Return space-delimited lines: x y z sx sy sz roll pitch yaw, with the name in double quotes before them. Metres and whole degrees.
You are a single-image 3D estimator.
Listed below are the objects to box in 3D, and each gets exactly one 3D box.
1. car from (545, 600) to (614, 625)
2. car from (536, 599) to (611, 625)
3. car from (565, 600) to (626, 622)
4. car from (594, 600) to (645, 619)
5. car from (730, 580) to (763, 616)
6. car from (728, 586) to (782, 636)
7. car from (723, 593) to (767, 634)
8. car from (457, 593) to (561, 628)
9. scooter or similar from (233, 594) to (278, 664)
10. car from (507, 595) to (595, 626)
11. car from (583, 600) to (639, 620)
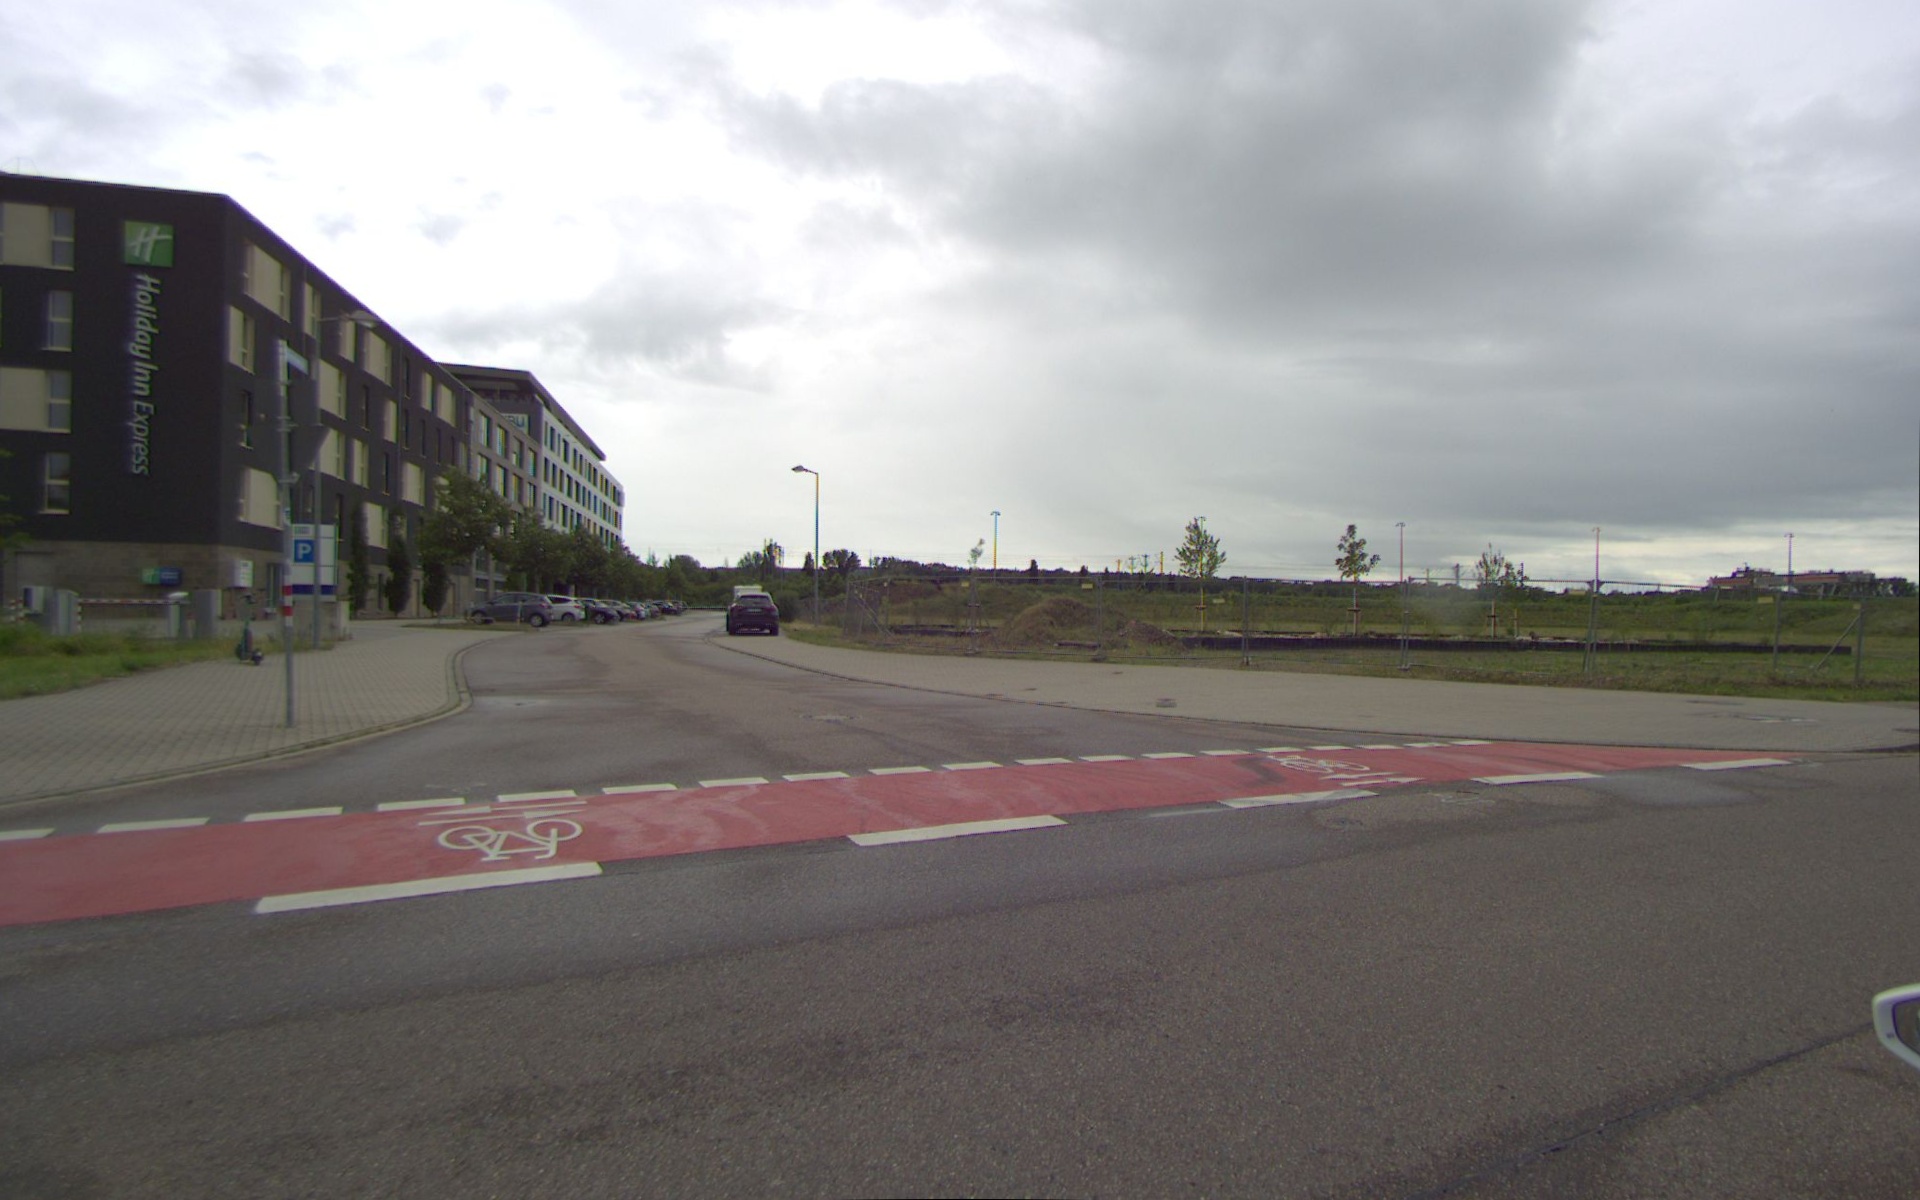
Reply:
"car" -23.995 0.793 63.472 3.934 1.416 1.739 1 -1 -16
"car" -22.690 0.706 59.091 3.935 1.416 1.739 1 -1 -17
"car" -25.887 0.780 71.428 3.934 1.478 1.739 1 -1 -16
"car" -28.244 0.801 83.399 3.934 1.478 1.739 1 -1 -16
"car" -18.314 -0.155 86.390 2.667 2.996 6.561 1 0 -12
"car" -8.029 0.429 39.472 1.965 1.847 3.991 1 0 -12
"car" -9.564 0.587 44.888 1.773 1.776 3.669 1 0 -11
"car" -19.874 0.470 44.435 3.932 1.461 1.693 1 0 -15
"scooter or similar" -12.655 0.507 18.022 0.566 1.184 1.451 2 0 -38
"car" -21.019 0.533 51.753 4.091 1.538 1.991 1 0 -21
"car" -26.968 0.784 77.811 3.934 1.478 1.739 1 -1 -16
